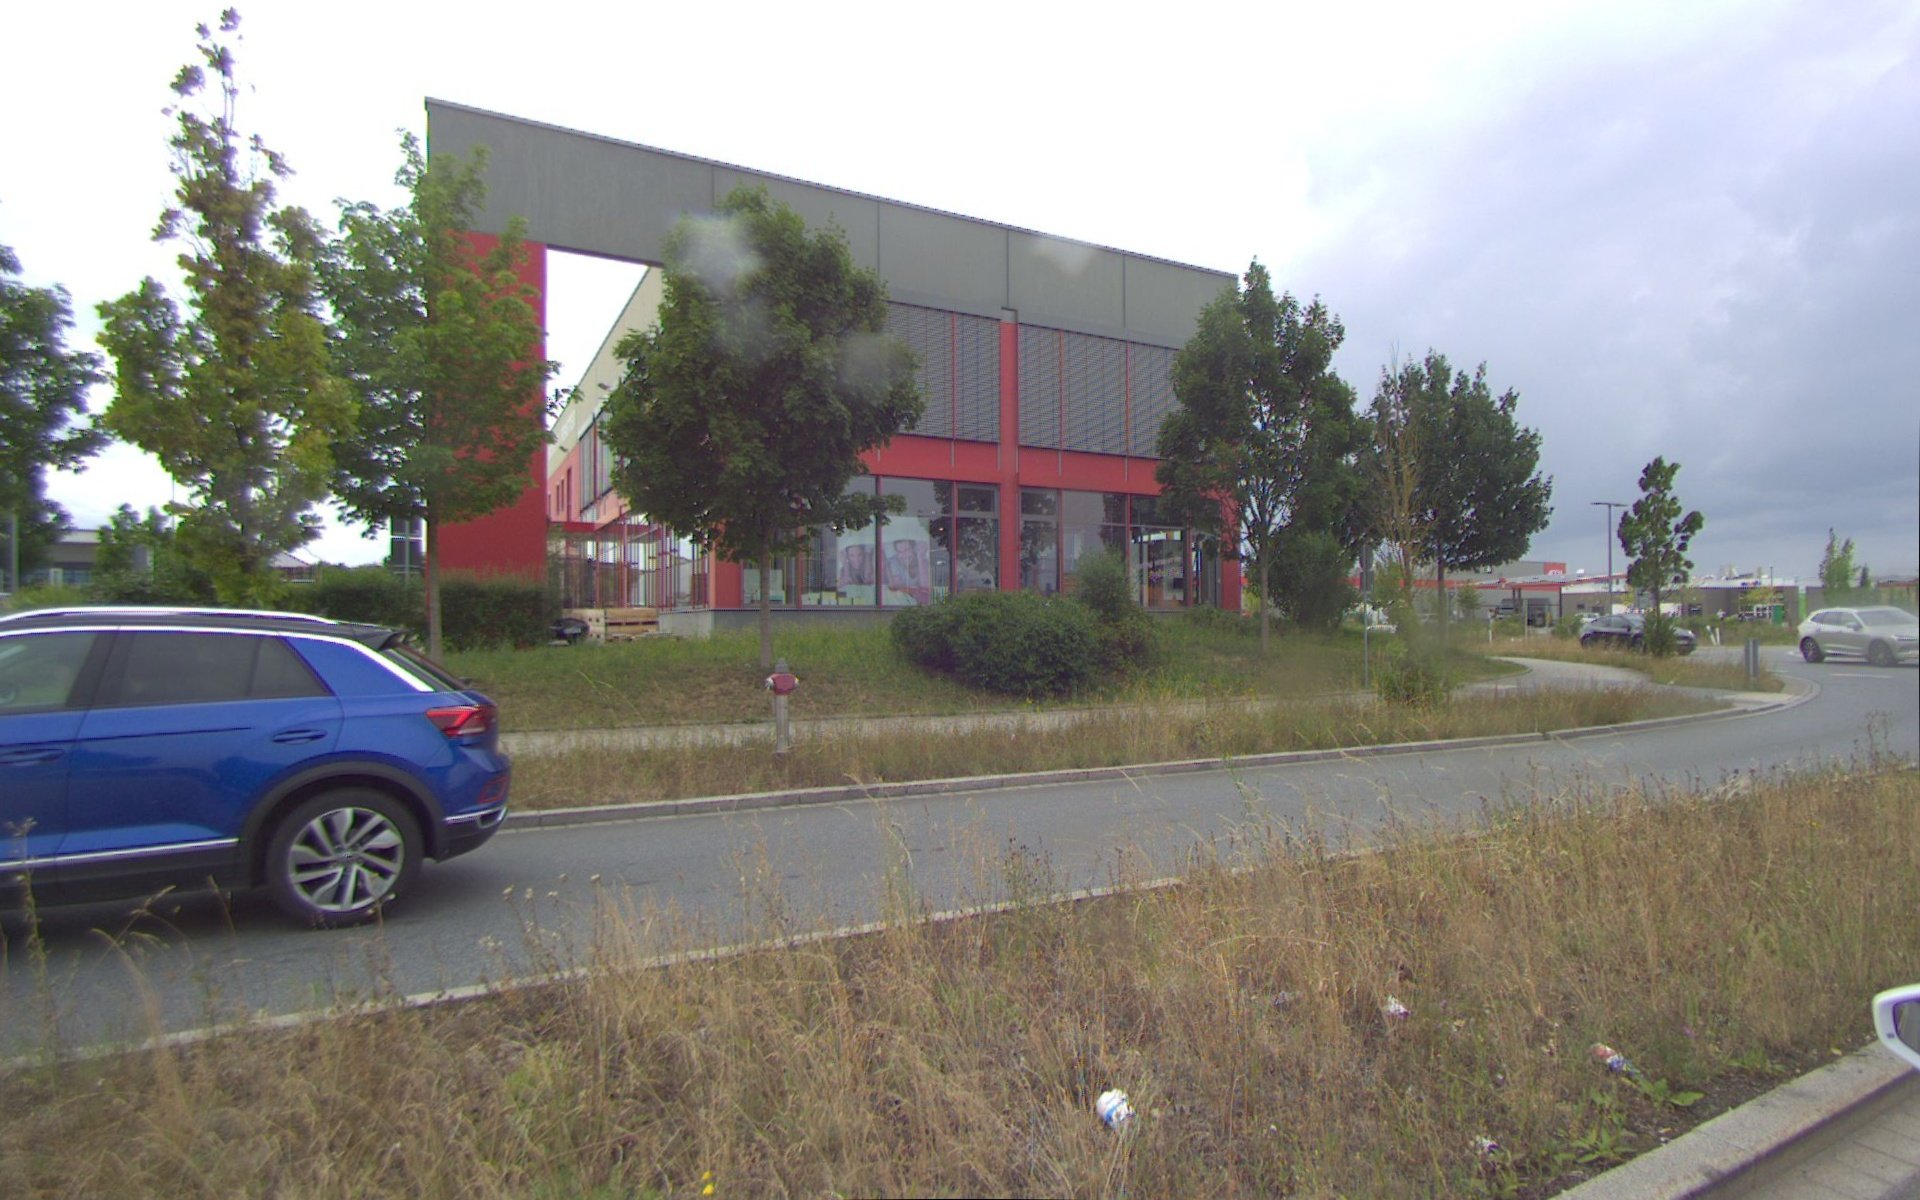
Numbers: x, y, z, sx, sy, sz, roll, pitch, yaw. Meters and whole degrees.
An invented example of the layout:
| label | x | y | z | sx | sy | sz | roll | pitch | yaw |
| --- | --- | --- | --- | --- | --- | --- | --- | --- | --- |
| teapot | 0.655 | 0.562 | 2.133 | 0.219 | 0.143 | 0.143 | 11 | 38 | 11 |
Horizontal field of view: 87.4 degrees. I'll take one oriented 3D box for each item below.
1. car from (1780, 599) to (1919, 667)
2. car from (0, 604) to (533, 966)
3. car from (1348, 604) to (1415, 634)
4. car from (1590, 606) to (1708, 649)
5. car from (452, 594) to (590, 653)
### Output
| label | x | y | z | sx | sy | sz | roll | pitch | yaw |
| --- | --- | --- | --- | --- | --- | --- | --- | --- | --- |
| car | 26.565 | 0.896 | 29.297 | 1.905 | 1.761 | 4.777 | -2 | -1 | 9 |
| car | -4.389 | 0.802 | 5.074 | 3.952 | 1.532 | 1.721 | 1 | -1 | -30 |
| car | 43.512 | 1.981 | 103.591 | 7.604 | 2.857 | 2.449 | 2 | 0 | -32 |
| car | 26.907 | 1.058 | 39.452 | 1.905 | 1.518 | 4.777 | -2 | -1 | 9 |
| car | -10.187 | 0.554 | 23.342 | 2.825 | 1.287 | 1.253 | 2 | 0 | -29 |
